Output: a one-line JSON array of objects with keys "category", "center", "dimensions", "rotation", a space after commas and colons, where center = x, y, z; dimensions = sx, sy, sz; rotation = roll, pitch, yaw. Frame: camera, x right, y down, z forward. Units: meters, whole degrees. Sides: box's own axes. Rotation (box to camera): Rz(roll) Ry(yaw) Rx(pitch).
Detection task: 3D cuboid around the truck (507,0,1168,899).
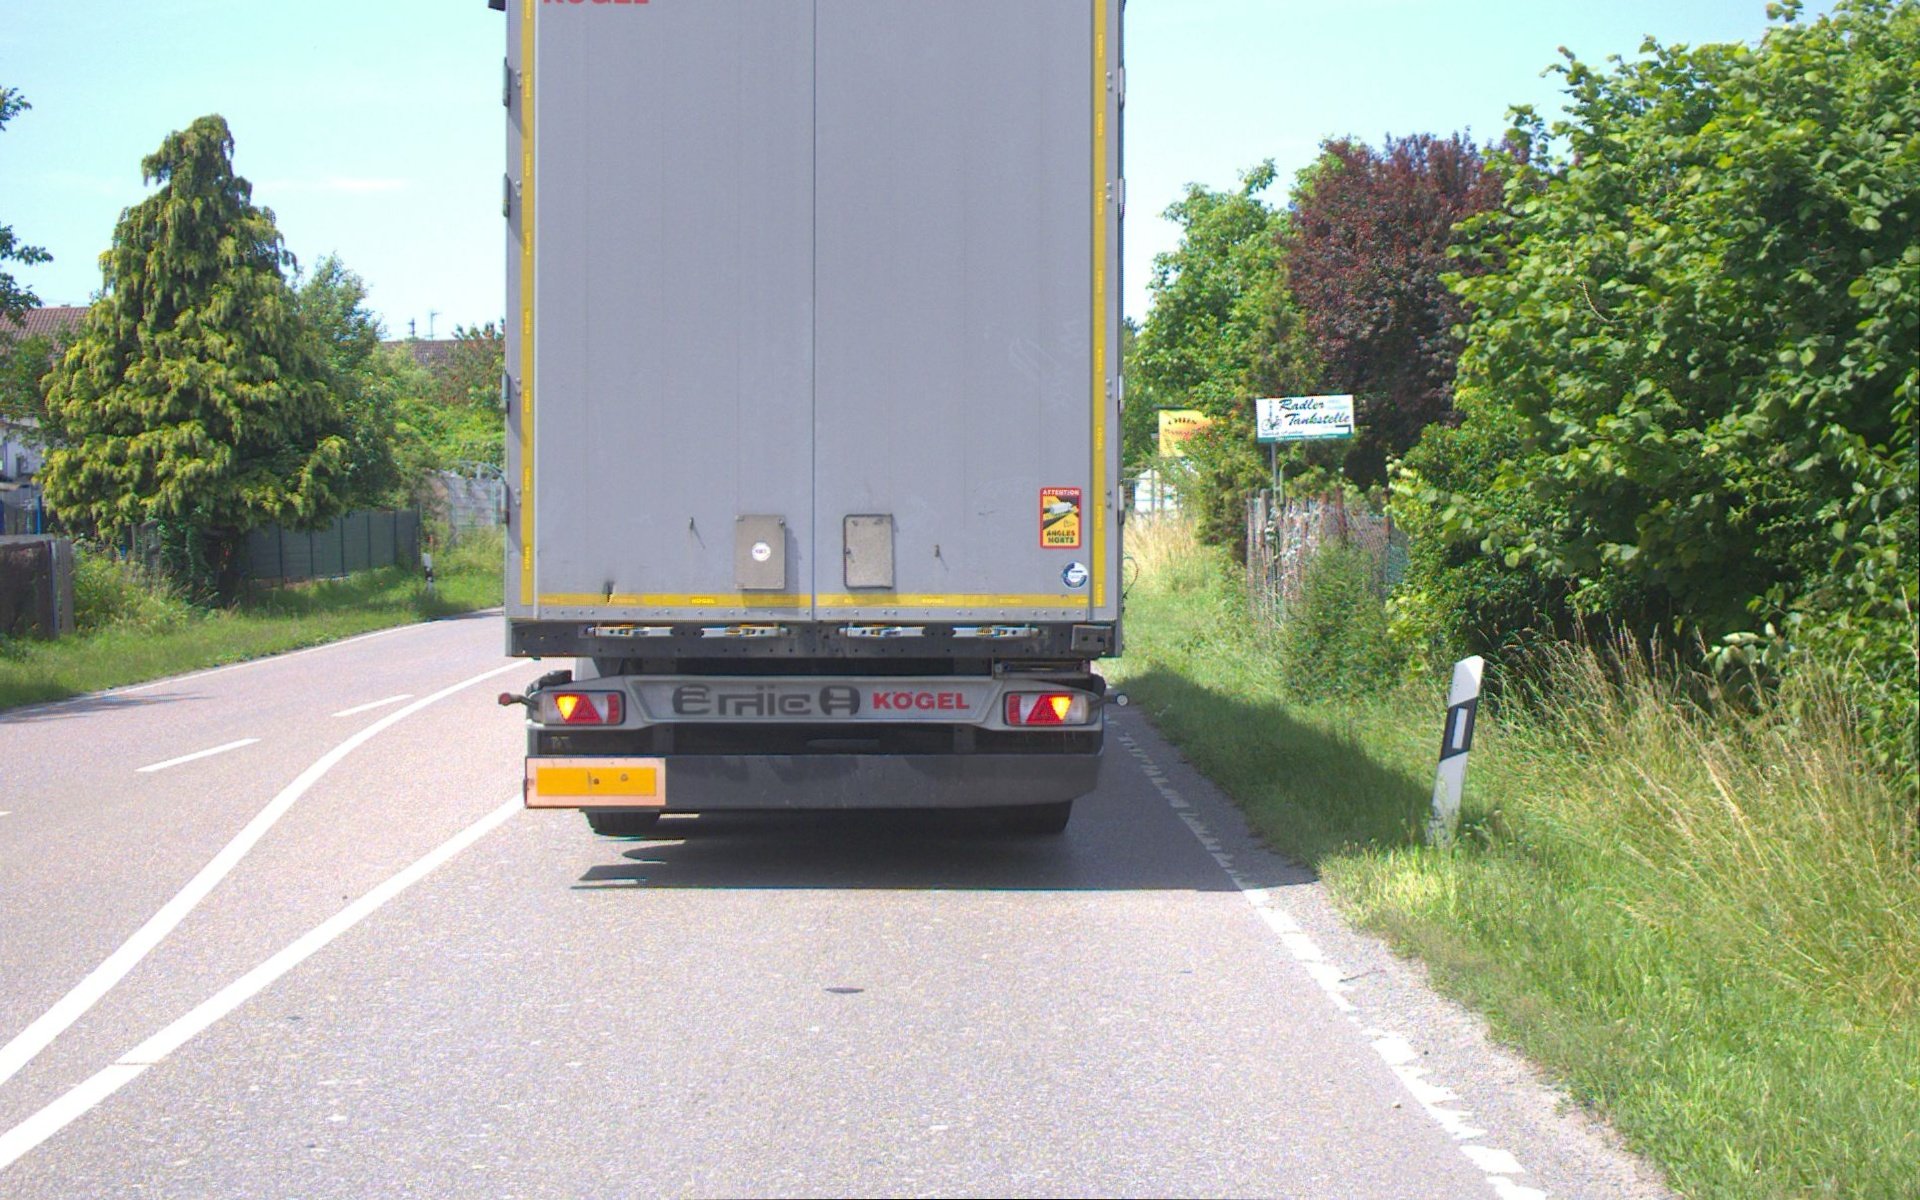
[{"category": "truck", "center": [-0.636, -0.864, 18.296], "dimensions": [2.647, 3.903, 8.826], "rotation": [0, 2, -2]}]
